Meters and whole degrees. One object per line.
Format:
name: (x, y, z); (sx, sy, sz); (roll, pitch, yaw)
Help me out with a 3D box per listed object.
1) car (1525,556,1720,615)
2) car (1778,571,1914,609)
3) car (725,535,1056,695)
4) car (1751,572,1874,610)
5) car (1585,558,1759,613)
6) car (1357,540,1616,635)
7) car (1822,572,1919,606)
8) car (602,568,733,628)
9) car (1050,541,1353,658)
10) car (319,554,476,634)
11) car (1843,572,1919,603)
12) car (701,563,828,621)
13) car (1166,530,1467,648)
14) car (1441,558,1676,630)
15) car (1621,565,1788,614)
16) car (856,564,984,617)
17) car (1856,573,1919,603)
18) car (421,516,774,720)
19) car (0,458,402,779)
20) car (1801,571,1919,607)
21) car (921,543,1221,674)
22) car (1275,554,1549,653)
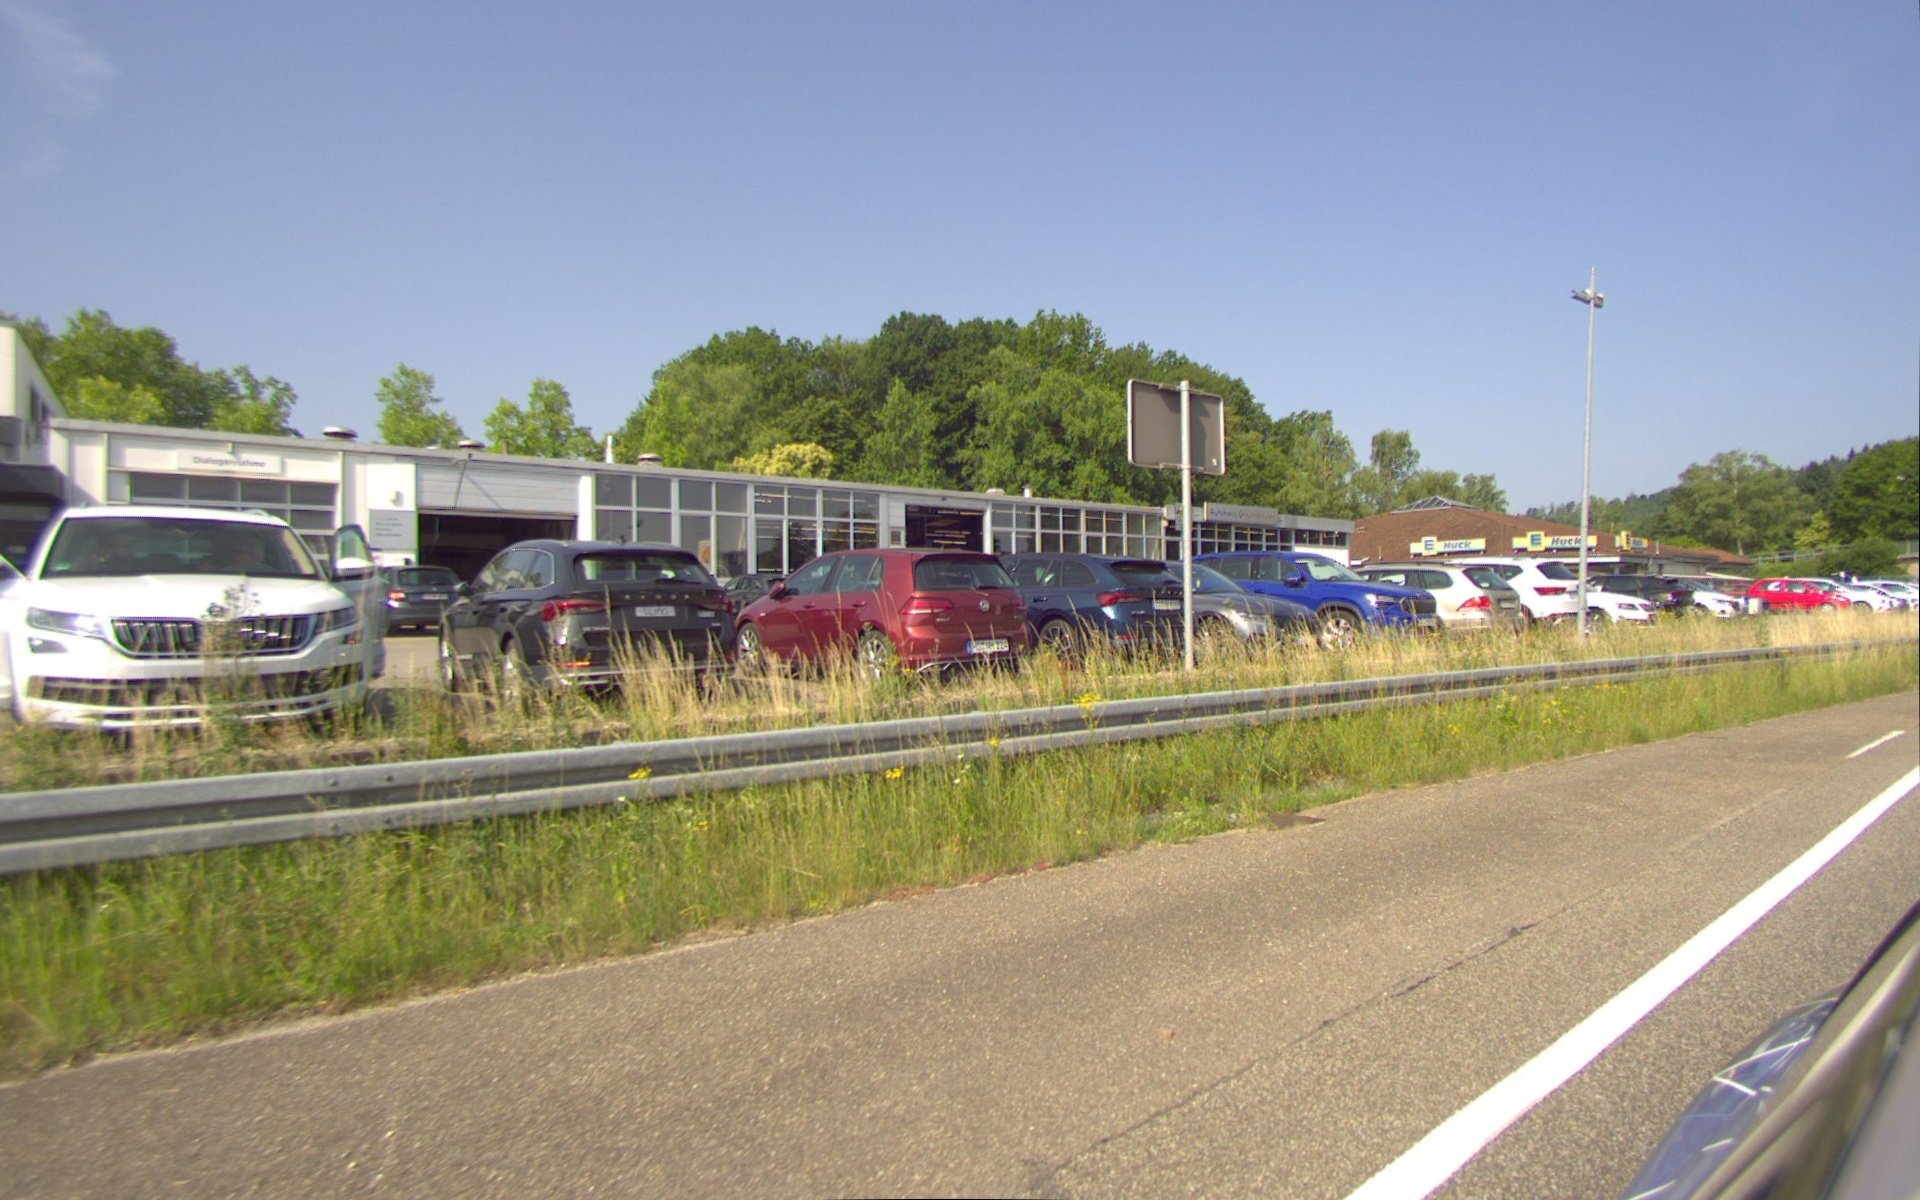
car: (18.912, -0.446, 29.036); (1.997, 1.571, 4.292); (-1, 2, -40)
car: (37.226, -0.456, 42.603); (1.842, 1.482, 3.999); (-1, 2, -37)
car: (-0.903, 0.107, 11.035); (1.790, 1.424, 3.739); (-1, 1, -39)
car: (34.924, -0.387, 41.530); (1.772, 1.482, 3.548); (-1, 2, -37)
car: (21.635, -0.461, 30.868); (1.773, 1.571, 3.999); (-1, 2, -37)
car: (10.058, -0.275, 19.611); (1.844, 1.637, 4.059); (-1, 2, -36)
car: (42.286, -0.532, 46.331); (1.842, 1.482, 3.999); (-1, 2, -37)
car: (-7.842, -0.109, 26.895); (1.759, 1.482, 4.318); (-1, 2, -40)
car: (3.402, -0.037, 14.830); (1.916, 1.470, 3.996); (-1, 1, -39)
car: (-12.404, -0.171, 22.196); (4.308, 1.584, 1.763); (1, 2, 43)
car: (45.449, -0.603, 48.419); (1.842, 1.482, 4.574); (-1, 2, -37)
car: (-5.545, -0.259, 28.325); (1.758, 1.482, 4.322); (-1, 2, -37)
car: (5.701, -0.188, 16.687); (1.915, 1.660, 4.368); (-1, 1, -37)
car: (13.784, -0.193, 23.546); (1.845, 1.513, 4.362); (-1, 2, -36)
car: (24.044, -0.389, 32.796); (1.842, 1.482, 3.999); (-1, 2, -37)
car: (-1.329, -0.343, 31.640); (1.759, 1.544, 4.319); (-1, 2, -40)
car: (48.107, -0.627, 50.658); (1.842, 1.482, 4.574); (-1, 2, -37)
car: (-3.555, 0.100, 9.470); (1.916, 1.470, 3.996); (-1, 1, -39)
car: (-5.546, 0.068, 7.331); (1.887, 1.652, 3.994); (-1, 1, -40)
car: (39.622, -0.503, 44.293); (1.842, 1.482, 3.999); (-1, 2, -37)
car: (1.313, 0.067, 13.144); (1.747, 1.446, 3.741); (-1, 1, -39)
car: (7.772, -0.006, 17.743); (1.772, 1.526, 4.052); (-1, 2, -36)
